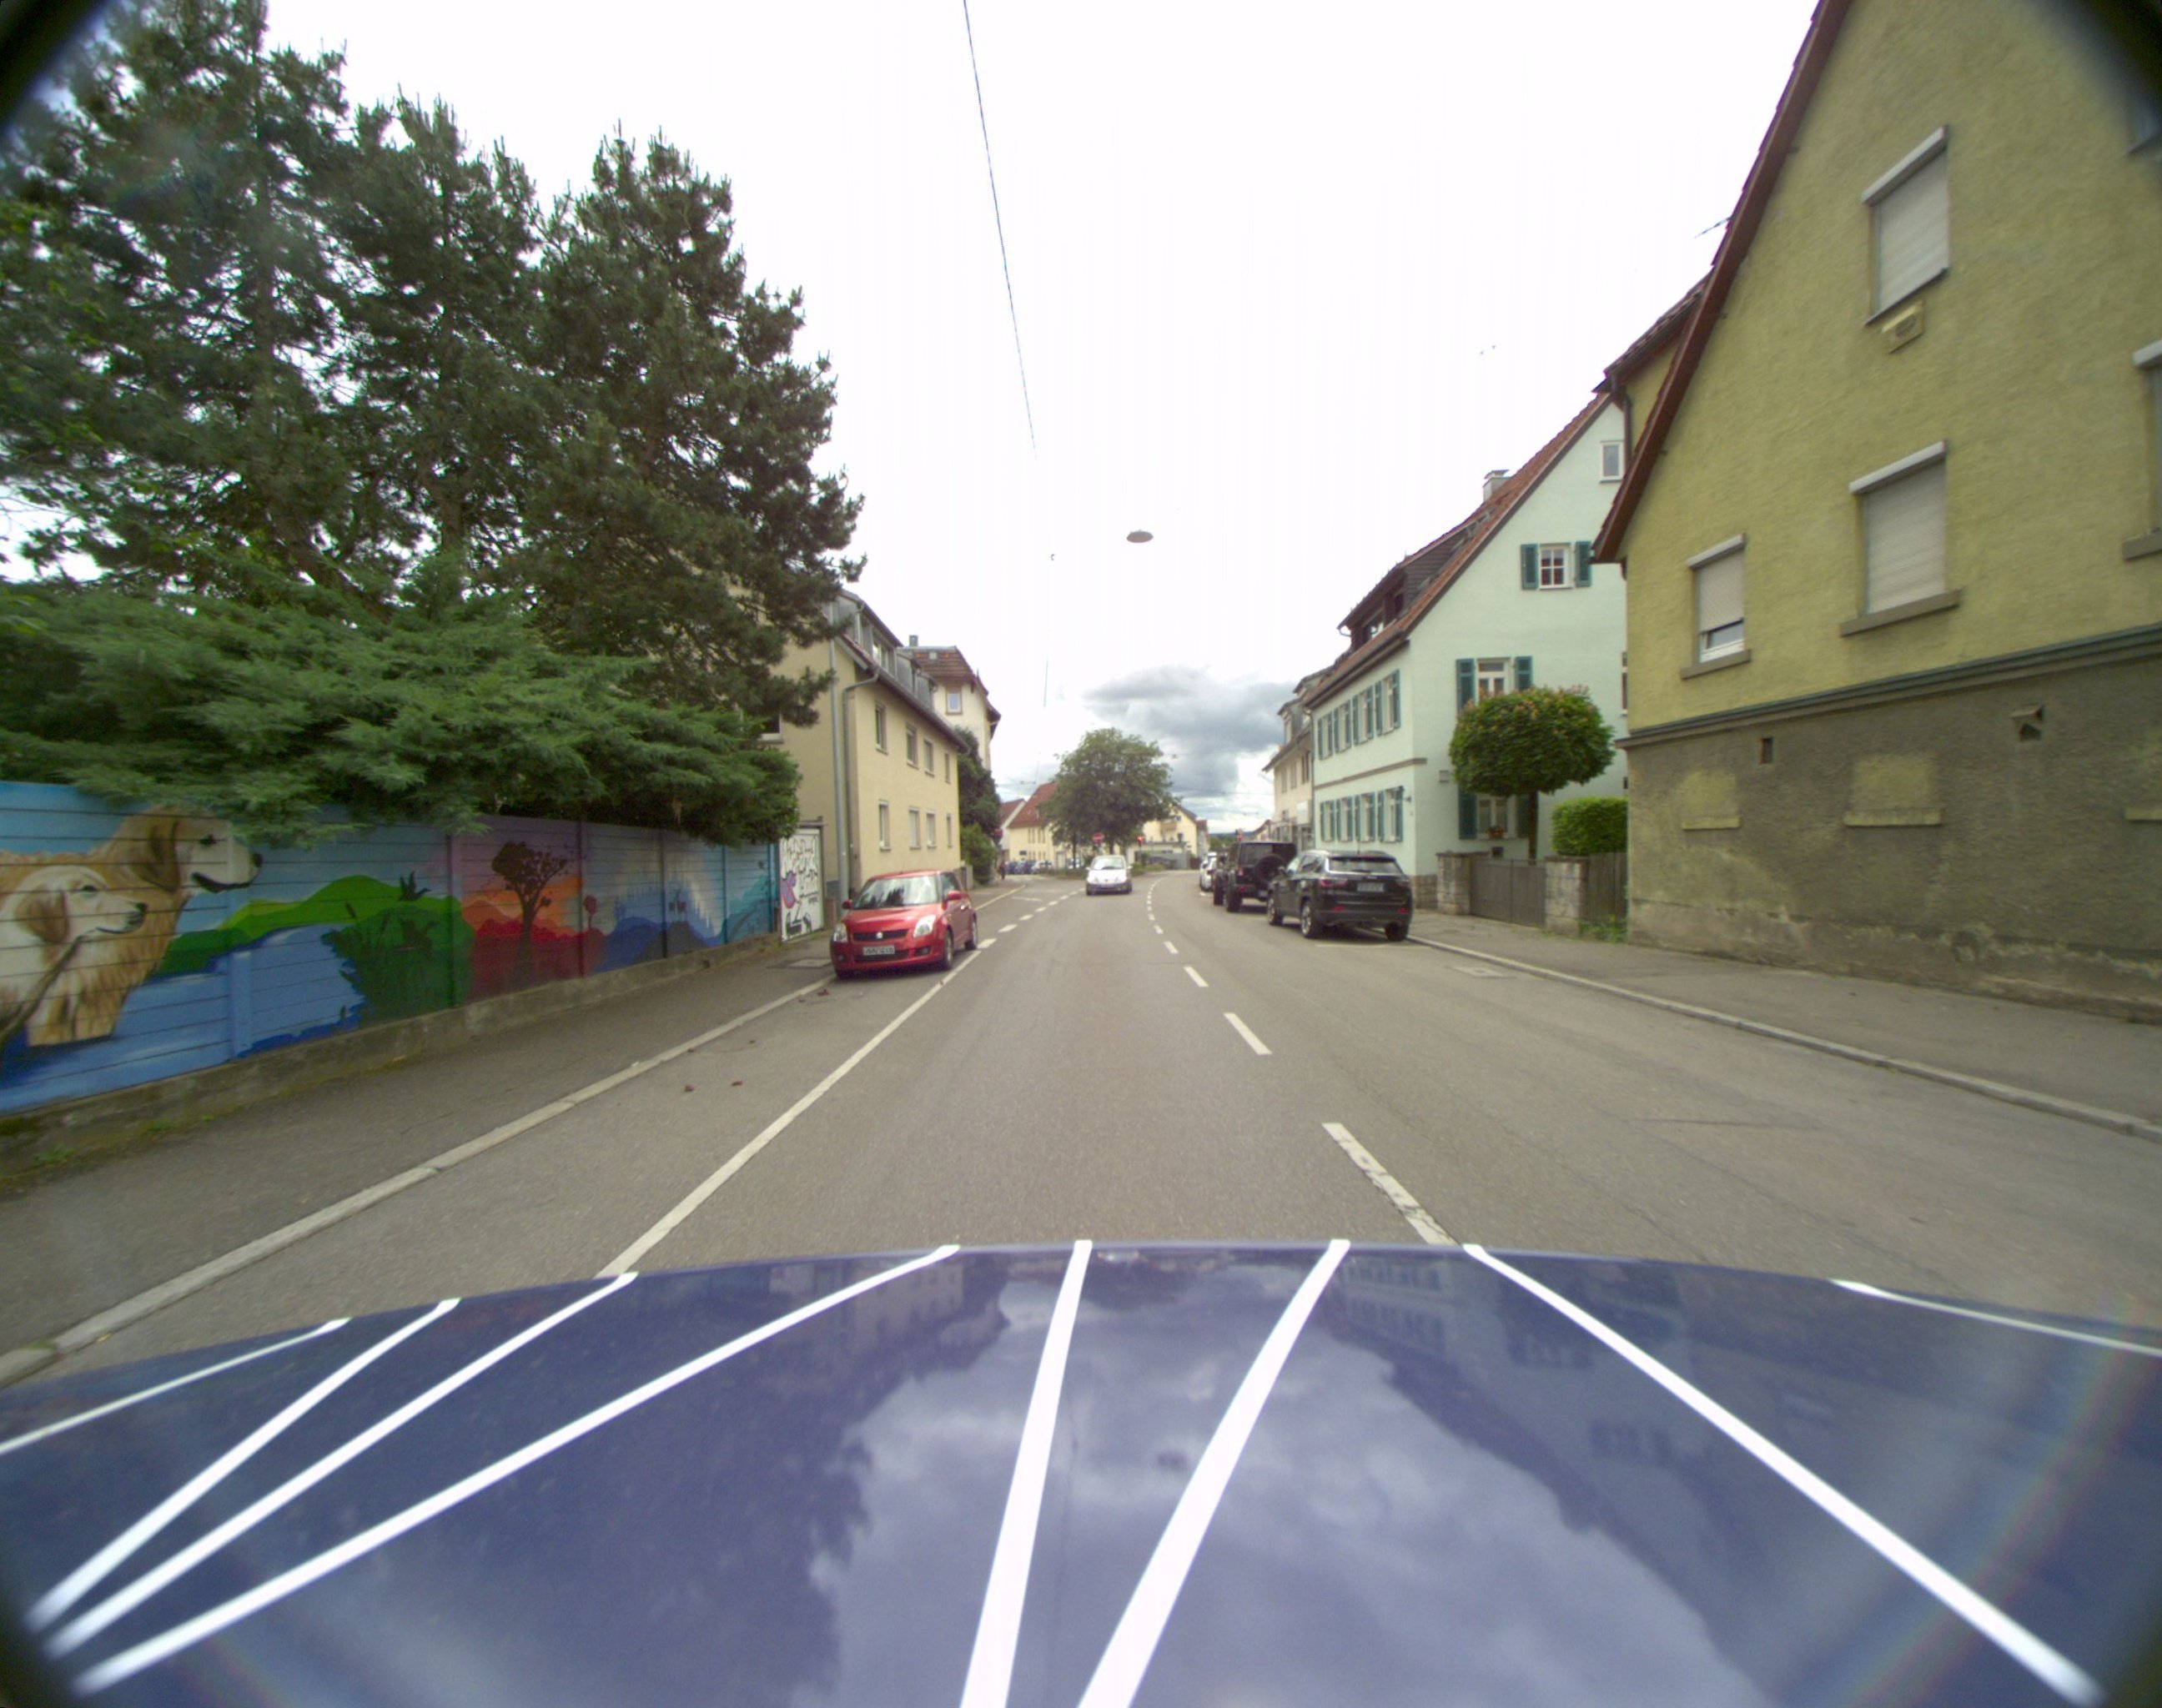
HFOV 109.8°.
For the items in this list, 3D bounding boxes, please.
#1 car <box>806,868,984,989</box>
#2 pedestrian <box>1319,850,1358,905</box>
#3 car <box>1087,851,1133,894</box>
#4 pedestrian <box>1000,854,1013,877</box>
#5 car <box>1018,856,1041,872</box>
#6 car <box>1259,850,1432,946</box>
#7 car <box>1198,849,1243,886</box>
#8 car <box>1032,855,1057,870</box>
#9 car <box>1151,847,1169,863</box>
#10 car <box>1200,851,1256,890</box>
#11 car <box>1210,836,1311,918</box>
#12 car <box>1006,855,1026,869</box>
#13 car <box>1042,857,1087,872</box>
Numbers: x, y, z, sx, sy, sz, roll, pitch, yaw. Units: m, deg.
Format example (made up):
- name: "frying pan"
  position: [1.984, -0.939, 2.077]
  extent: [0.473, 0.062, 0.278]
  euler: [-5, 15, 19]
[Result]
- name: "car"
  position: [-2.777, 1.052, 12.294]
  extent: [1.763, 1.443, 4.000]
  euler: [-3, 0, 1]
- name: "pedestrian"
  position: [7.372, 0.666, 21.792]
  extent: [0.807, 1.491, 0.976]
  euler: [-3, 1, 6]
- name: "car"
  position: [1.250, 0.745, 31.371]
  extent: [1.721, 1.586, 4.002]
  euler: [-3, -1, 4]
- name: "pedestrian"
  position: [-5.662, 0.893, 57.650]
  extent: [0.861, 1.722, 1.021]
  euler: [-3, -1, -11]
- name: "car"
  position: [-6.476, 1.271, 95.326]
  extent: [1.777, 1.931, 4.318]
  euler: [1, -2, -20]
- name: "car"
  position: [4.985, 0.772, 15.067]
  extent: [1.901, 1.609, 4.526]
  euler: [0, -1, 1]
- name: "car"
  position: [6.714, 0.589, 36.894]
  extent: [2.001, 1.623, 4.861]
  euler: [-2, 0, 9]
- name: "car"
  position: [-4.313, 1.030, 89.496]
  extent: [1.776, 1.608, 3.994]
  euler: [-2, -1, -20]
- name: "car"
  position: [9.333, 0.154, 89.157]
  extent: [1.749, 1.729, 4.576]
  euler: [1, -1, 10]
- name: "car"
  position: [5.989, 0.646, 31.375]
  extent: [2.002, 1.428, 3.920]
  euler: [-2, 0, 7]
- name: "car"
  position: [4.910, 0.564, 21.432]
  extent: [1.998, 2.002, 4.671]
  euler: [1, 0, 4]
- name: "car"
  position: [-8.769, 1.153, 102.645]
  extent: [1.724, 1.720, 3.995]
  euler: [-2, -1, -19]
- name: "car"
  position: [-1.741, 1.104, 79.724]
  extent: [4.566, 1.436, 2.000]
  euler: [1, 0, -2]
